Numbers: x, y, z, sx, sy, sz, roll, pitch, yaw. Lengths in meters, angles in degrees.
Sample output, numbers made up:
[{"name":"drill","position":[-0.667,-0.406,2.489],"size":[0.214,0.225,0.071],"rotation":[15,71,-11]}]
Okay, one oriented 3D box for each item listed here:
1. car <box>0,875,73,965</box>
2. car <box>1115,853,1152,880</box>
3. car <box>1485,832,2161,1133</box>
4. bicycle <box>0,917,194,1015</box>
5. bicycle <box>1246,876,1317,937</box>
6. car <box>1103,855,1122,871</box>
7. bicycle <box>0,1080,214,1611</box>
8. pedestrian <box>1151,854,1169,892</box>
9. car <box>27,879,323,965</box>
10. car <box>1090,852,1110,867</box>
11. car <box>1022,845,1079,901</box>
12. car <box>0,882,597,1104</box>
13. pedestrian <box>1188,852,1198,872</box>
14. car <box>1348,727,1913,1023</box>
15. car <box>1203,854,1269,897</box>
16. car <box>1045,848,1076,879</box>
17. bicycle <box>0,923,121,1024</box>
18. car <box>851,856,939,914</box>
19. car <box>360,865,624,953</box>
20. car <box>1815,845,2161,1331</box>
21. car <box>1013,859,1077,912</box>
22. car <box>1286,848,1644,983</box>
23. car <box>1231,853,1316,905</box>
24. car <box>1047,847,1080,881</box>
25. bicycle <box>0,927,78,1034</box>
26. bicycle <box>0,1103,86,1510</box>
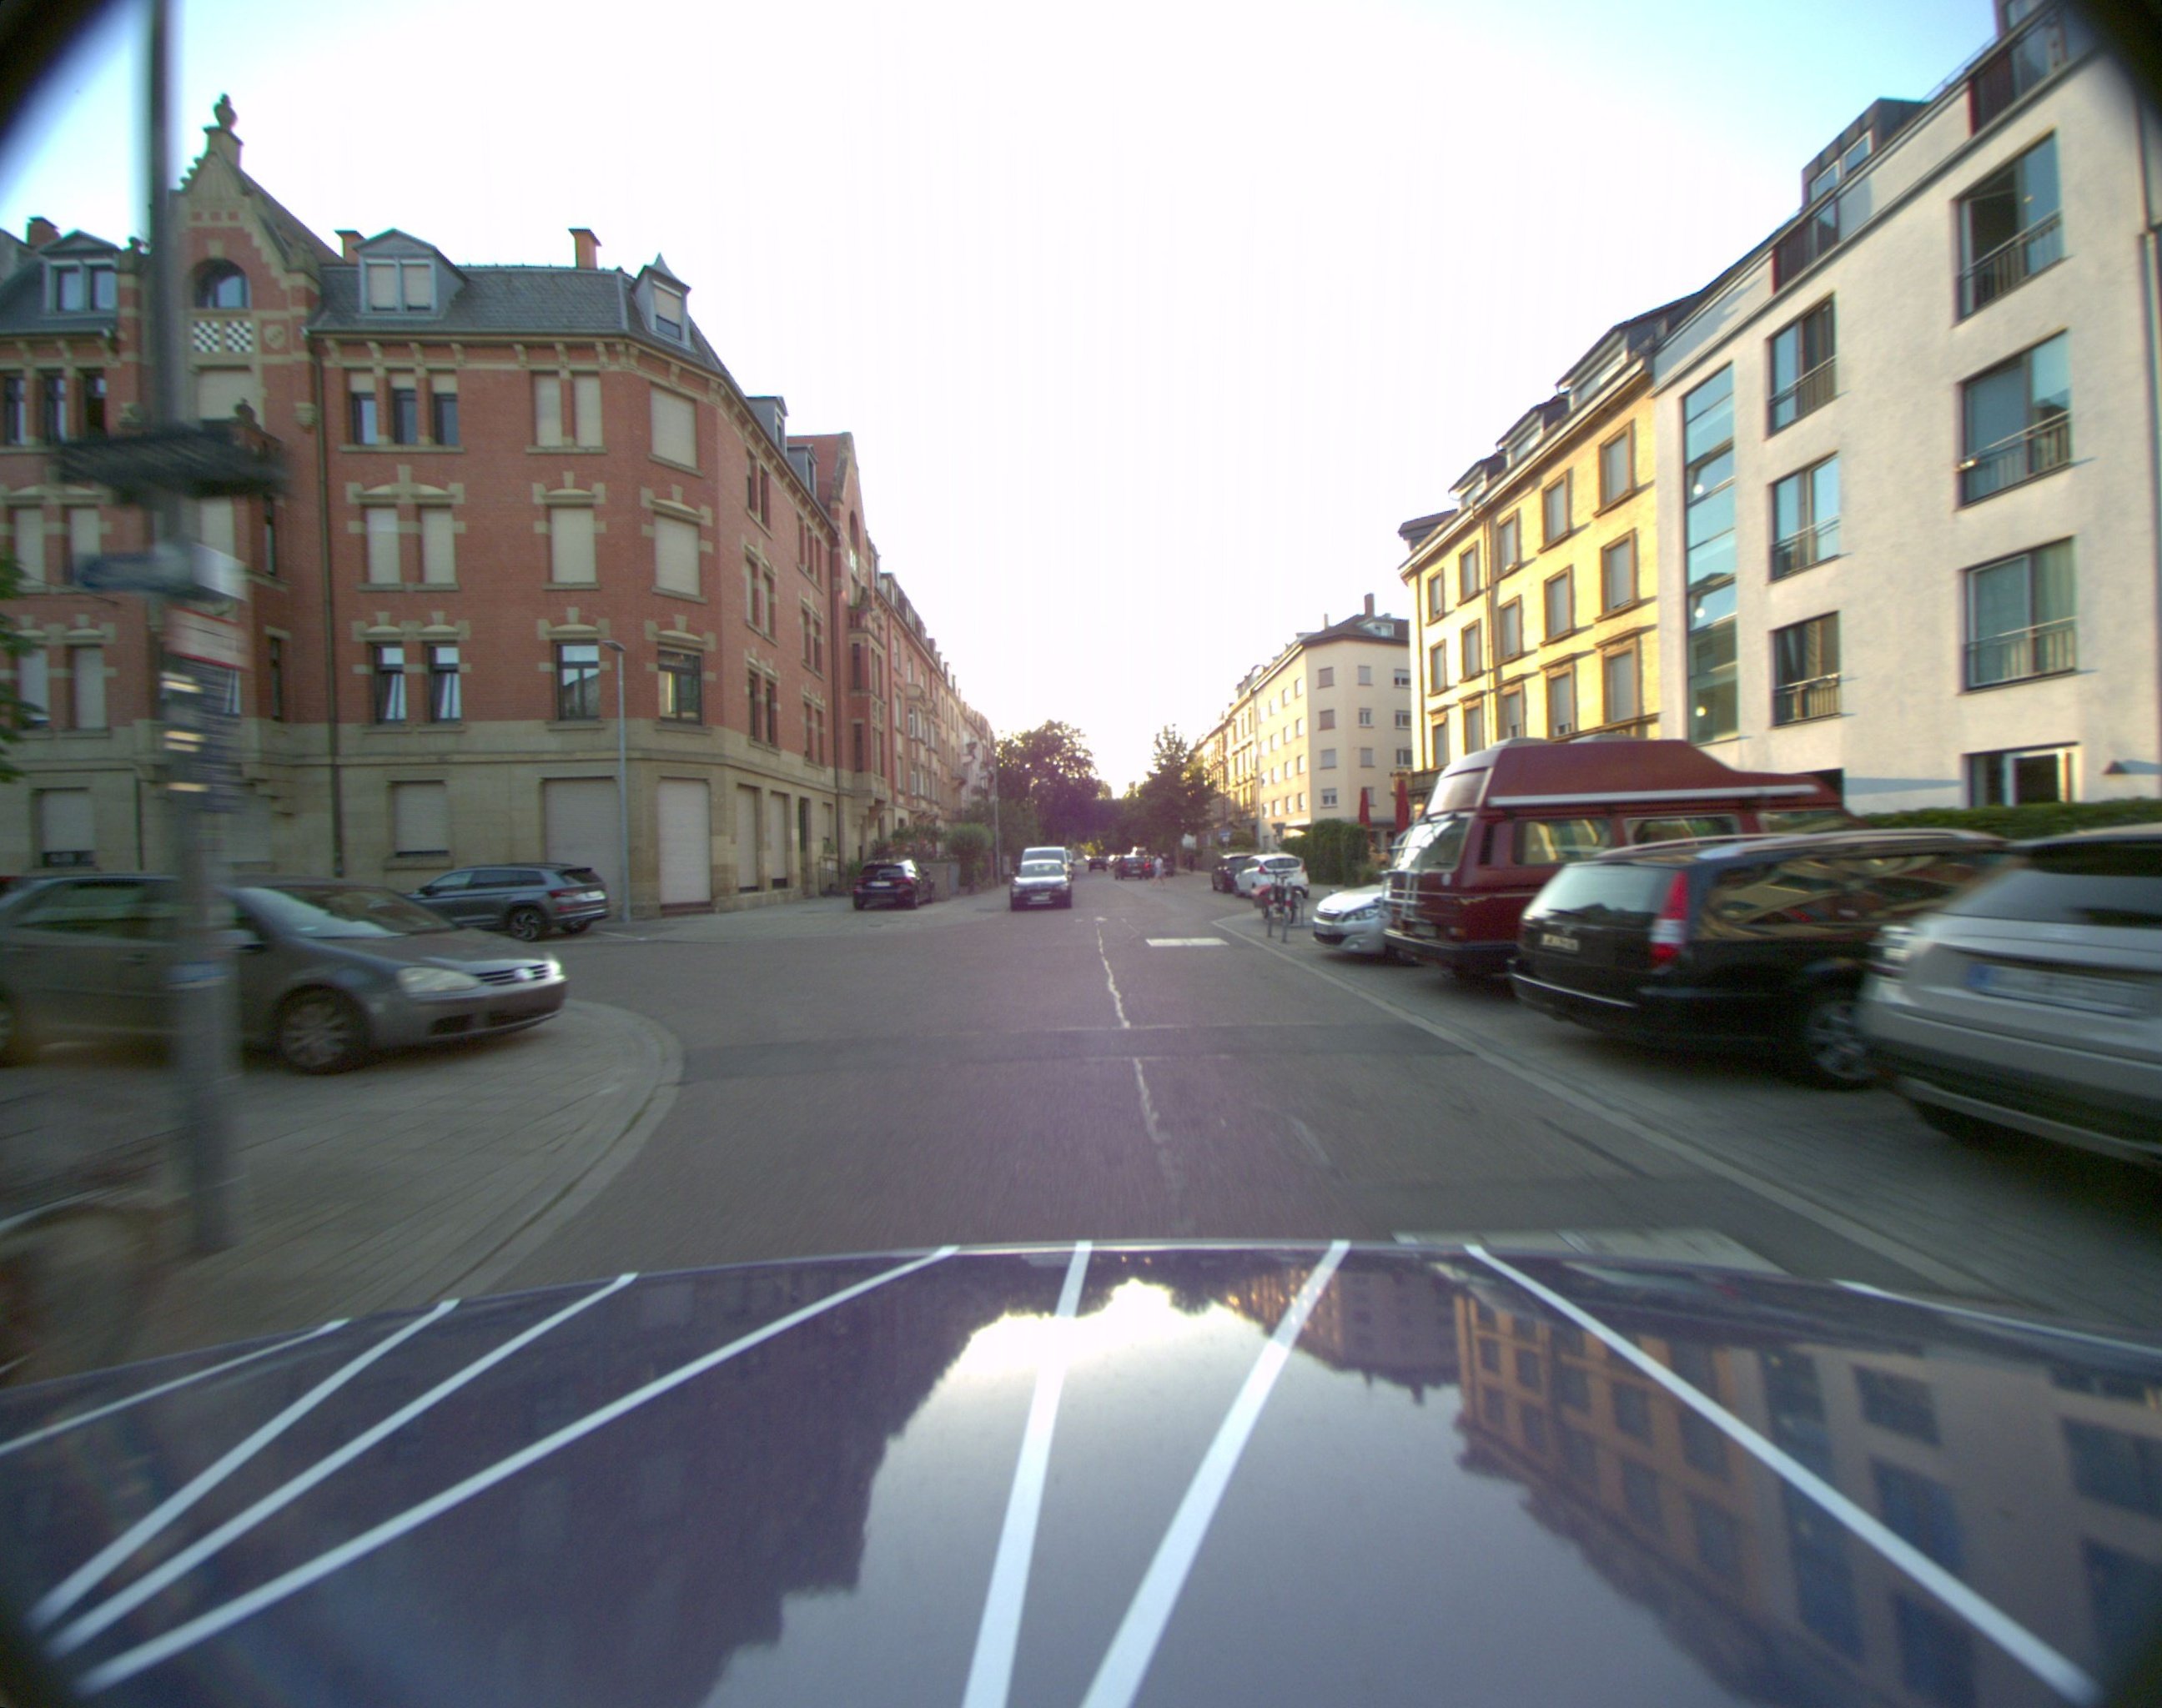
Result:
[{"name":"car","position":[-24.530,1.458,16.007],"size":[3.877,1.848,1.843],"rotation":[-2,1,-3]},{"name":"car","position":[3.086,0.707,45.017],"size":[1.763,1.478,3.782],"rotation":[0,0,-3]},{"name":"car","position":[5.375,0.705,5.148],"size":[4.348,1.515,1.705],"rotation":[-3,1,-1]},{"name":"bicycle","position":[-11.949,1.342,9.175],"size":[1.821,1.056,0.482],"rotation":[-2,1,-1]},{"name":"bicycle","position":[4.024,1.017,15.450],"size":[0.805,1.047,2.414],"rotation":[-2,0,0]},{"name":"car","position":[4.085,1.166,99.177],"size":[1.999,2.002,3.999],"rotation":[-2,0,-3]},{"name":"bicycle","position":[-2.664,1.207,1.202],"size":[0.357,1.093,1.971],"rotation":[-2,0,-3]},{"name":"pedestrian","position":[3.300,0.792,31.887],"size":[0.601,1.565,0.639],"rotation":[-2,1,-7]},{"name":"car","position":[-19.441,1.416,16.467],"size":[3.998,1.556,1.830],"rotation":[-2,1,-3]},{"name":"car","position":[2.003,0.564,79.332],"size":[1.891,1.513,3.999],"rotation":[-2,0,-1]},{"name":"car","position":[-1.150,0.665,28.679],"size":[1.940,1.893,4.054],"rotation":[-2,0,-3]},{"name":"car","position":[-6.556,1.000,6.282],"size":[3.996,1.482,1.805],"rotation":[0,0,4]},{"name":"pedestrian","position":[8.798,0.630,59.844],"size":[0.645,1.525,0.638],"rotation":[-1,1,1]},{"name":"car","position":[5.341,0.188,7.869],"size":[4.413,2.542,1.931],"rotation":[-2,1,0]},{"name":"car","position":[6.044,0.792,30.051],"size":[1.597,1.513,3.737],"rotation":[-4,0,-3]},{"name":"car","position":[-1.470,0.622,53.481],"size":[1.999,2.002,3.999],"rotation":[-2,0,-3]},{"name":"bicycle","position":[-12.175,1.362,8.646],"size":[1.821,1.056,0.447],"rotation":[-2,1,-1]},{"name":"car","position":[-5.545,0.867,23.118],"size":[1.800,1.515,3.999],"rotation":[-2,0,-3]},{"name":"car","position":[-12.931,1.173,16.901],"size":[4.345,1.656,1.779],"rotation":[-2,1,-3]},{"name":"car","position":[5.498,0.712,2.732],"size":[3.958,1.531,1.755],"rotation":[-3,1,1]},{"name":"car","position":[-1.086,0.885,22.923],"size":[1.733,1.367,3.762],"rotation":[-2,0,-3]},{"name":"car","position":[5.104,0.749,10.383],"size":[3.989,1.408,1.803],"rotation":[-3,1,-7]},{"name":"car","position":[6.261,0.759,25.067],"size":[1.679,1.502,3.581],"rotation":[-3,0,-3]},{"name":"car","position":[-1.173,0.598,48.908],"size":[1.999,2.002,3.999],"rotation":[-2,0,-3]},{"name":"bicycle","position":[-11.953,1.359,8.089],"size":[1.821,1.056,0.477],"rotation":[-2,1,-1]},{"name":"bicycle","position":[-3.005,1.229,1.180],"size":[0.357,1.018,1.971],"rotation":[-2,0,-3]}]
